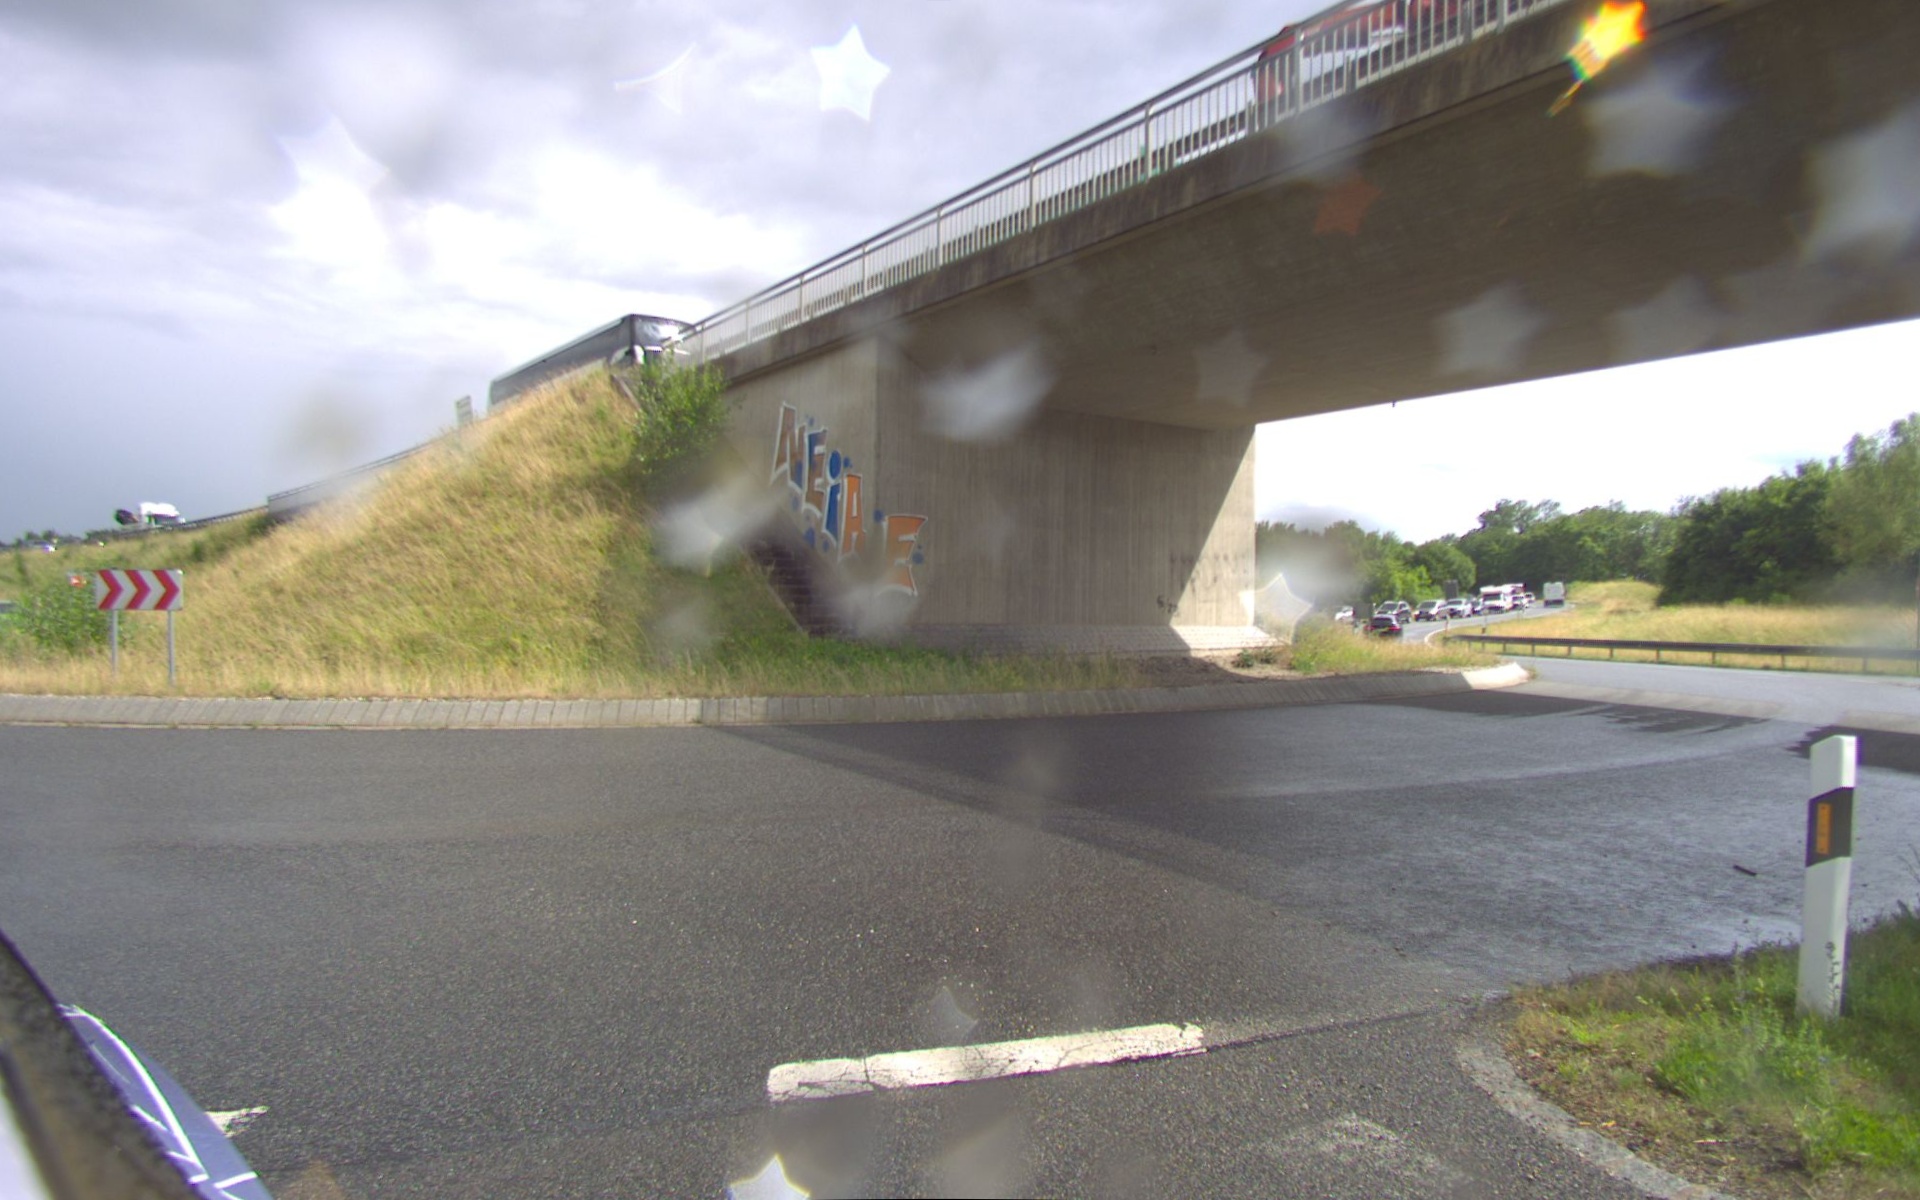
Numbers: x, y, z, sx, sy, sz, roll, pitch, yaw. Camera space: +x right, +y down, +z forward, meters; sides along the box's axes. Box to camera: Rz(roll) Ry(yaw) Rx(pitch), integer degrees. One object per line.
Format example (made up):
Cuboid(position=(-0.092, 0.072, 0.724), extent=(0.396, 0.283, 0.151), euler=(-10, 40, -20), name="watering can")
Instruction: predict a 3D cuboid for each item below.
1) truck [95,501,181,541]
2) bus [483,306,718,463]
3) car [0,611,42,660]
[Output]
Cuboid(position=(-76.294, -7.233, 93.901), extent=(9.242, 3.218, 3.129), euler=(0, 1, 30), name="truck")
Cuboid(position=(-13.360, -7.218, 36.141), extent=(2.573, 3.102, 14.482), euler=(-1, 1, -42), name="bus")
Cuboid(position=(-31.286, 1.122, 31.728), extent=(1.550, 1.548, 3.930), euler=(0, -1, -2), name="car")
